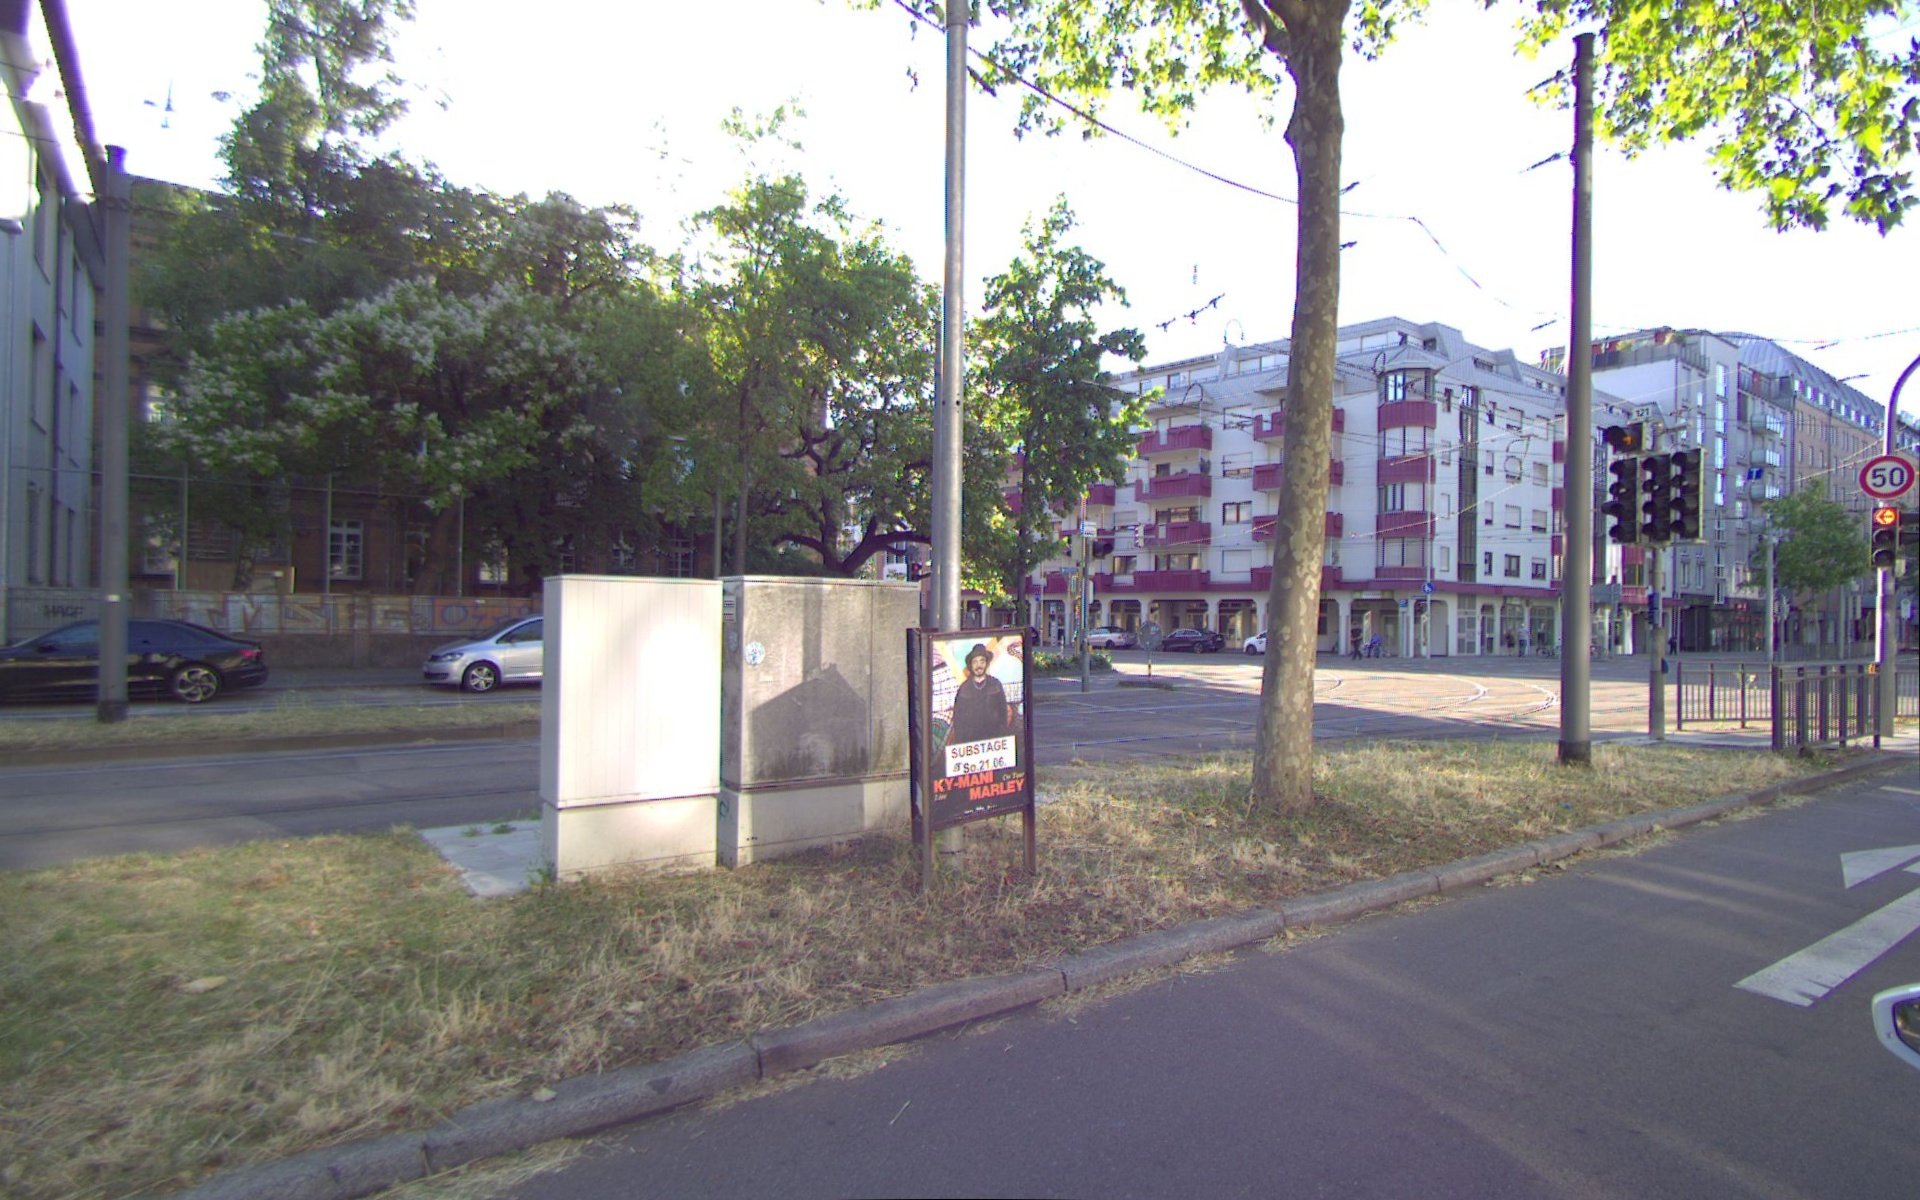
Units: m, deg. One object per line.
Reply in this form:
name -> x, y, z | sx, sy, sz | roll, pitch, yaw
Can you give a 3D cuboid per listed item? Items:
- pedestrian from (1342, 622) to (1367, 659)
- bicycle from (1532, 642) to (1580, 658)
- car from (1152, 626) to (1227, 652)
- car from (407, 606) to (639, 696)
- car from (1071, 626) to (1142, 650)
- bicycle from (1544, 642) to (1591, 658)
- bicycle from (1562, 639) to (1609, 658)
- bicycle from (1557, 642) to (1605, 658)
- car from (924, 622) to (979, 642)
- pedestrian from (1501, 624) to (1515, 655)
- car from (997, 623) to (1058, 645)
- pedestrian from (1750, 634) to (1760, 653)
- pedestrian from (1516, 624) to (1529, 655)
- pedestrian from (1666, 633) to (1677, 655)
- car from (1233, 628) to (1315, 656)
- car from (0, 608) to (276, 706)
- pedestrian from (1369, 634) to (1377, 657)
pedestrian -> 18.296, 1.875, 46.577 | 1.025, 1.684, 0.702 | 2, -2, -40
bicycle -> 31.858, 2.659, 53.712 | 0.635, 0.797, 2.152 | 1, -2, -38
car -> 13.370, 2.251, 58.581 | 3.944, 1.483, 1.792 | -1, -2, 43
car -> -9.175, 1.029, 21.212 | 4.141, 1.711, 1.978 | 2, -1, -38
car -> 9.172, 2.379, 63.107 | 4.214, 1.483, 1.790 | -1, -2, 45
bicycle -> 32.609, 2.681, 53.951 | 0.487, 0.797, 2.152 | 1, -2, -38
bicycle -> 34.259, 2.654, 55.050 | 0.487, 0.963, 2.152 | 1, -2, -38
bicycle -> 33.770, 2.702, 54.635 | 0.523, 0.835, 2.152 | 1, -2, -38
car -> -0.645, 2.344, 73.663 | 3.946, 1.483, 1.791 | -1, -2, 45
pedestrian -> 30.438, 2.191, 55.799 | 0.523, 1.721, 0.506 | 1, -1, -37
car -> 4.590, 2.297, 68.177 | 3.946, 1.483, 1.791 | -1, -2, 45
pedestrian -> 61.786, 3.396, 78.066 | 0.523, 1.478, 0.506 | 1, -1, -37
pedestrian -> 30.984, 2.173, 55.324 | 0.523, 1.721, 0.506 | 1, -1, -37
pedestrian -> 48.174, 2.991, 68.025 | 0.524, 1.478, 0.505 | 2, -1, -43
car -> 17.123, 2.267, 54.884 | 3.944, 1.483, 1.791 | -1, -2, 43
car -> -14.391, 0.912, 16.937 | 4.609, 1.495, 1.978 | 2, -1, -38
pedestrian -> 21.389, 2.353, 52.002 | 0.316, 1.230, 0.301 | 1, -2, -41
